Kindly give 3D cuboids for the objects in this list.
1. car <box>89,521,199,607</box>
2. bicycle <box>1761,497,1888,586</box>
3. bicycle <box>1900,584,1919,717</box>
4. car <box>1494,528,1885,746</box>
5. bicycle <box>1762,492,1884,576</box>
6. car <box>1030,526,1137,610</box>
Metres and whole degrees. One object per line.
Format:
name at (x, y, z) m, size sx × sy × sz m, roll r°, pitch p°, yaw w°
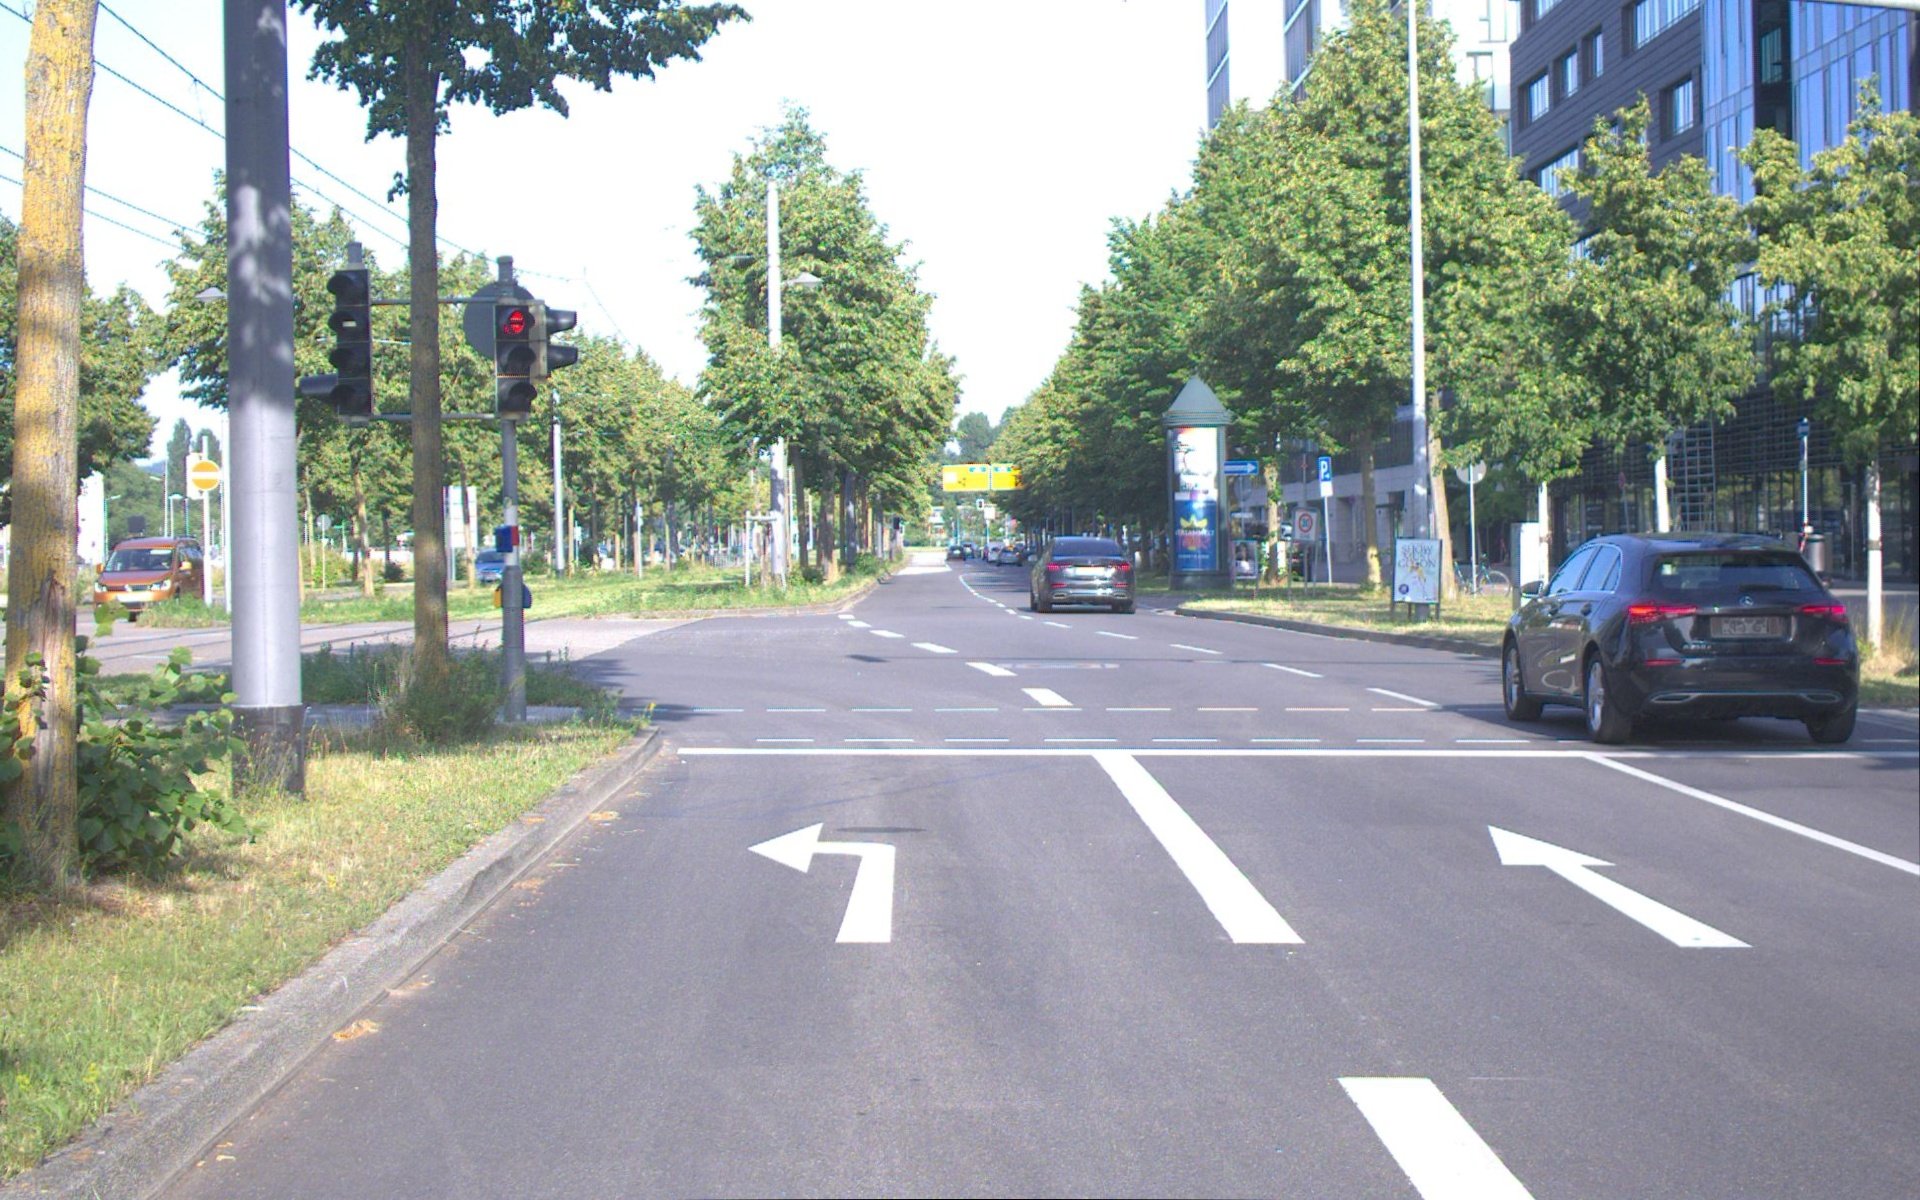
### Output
car at (-17.486, -0.773, 73.813) m, size 1.684 × 1.769 × 3.883 m, roll 1°, pitch 1°, yaw -4°
bicycle at (18.548, -1.258, 73.788) m, size 2.565 × 1.851 × 0.569 m, roll 1°, pitch 1°, yaw 9°
bicycle at (8.348, 0.400, 26.309) m, size 2.134 × 1.009 × 0.571 m, roll 1°, pitch 1°, yaw -4°
car at (5.148, 0.223, 24.768) m, size 1.774 × 1.419 × 3.961 m, roll 1°, pitch 1°, yaw -3°
bicycle at (18.264, -1.391, 72.767) m, size 2.436 × 1.740 × 0.554 m, roll 1°, pitch 1°, yaw 9°
car at (2.298, -0.611, 64.780) m, size 1.859 × 1.519 × 3.786 m, roll 1°, pitch 1°, yaw 0°
